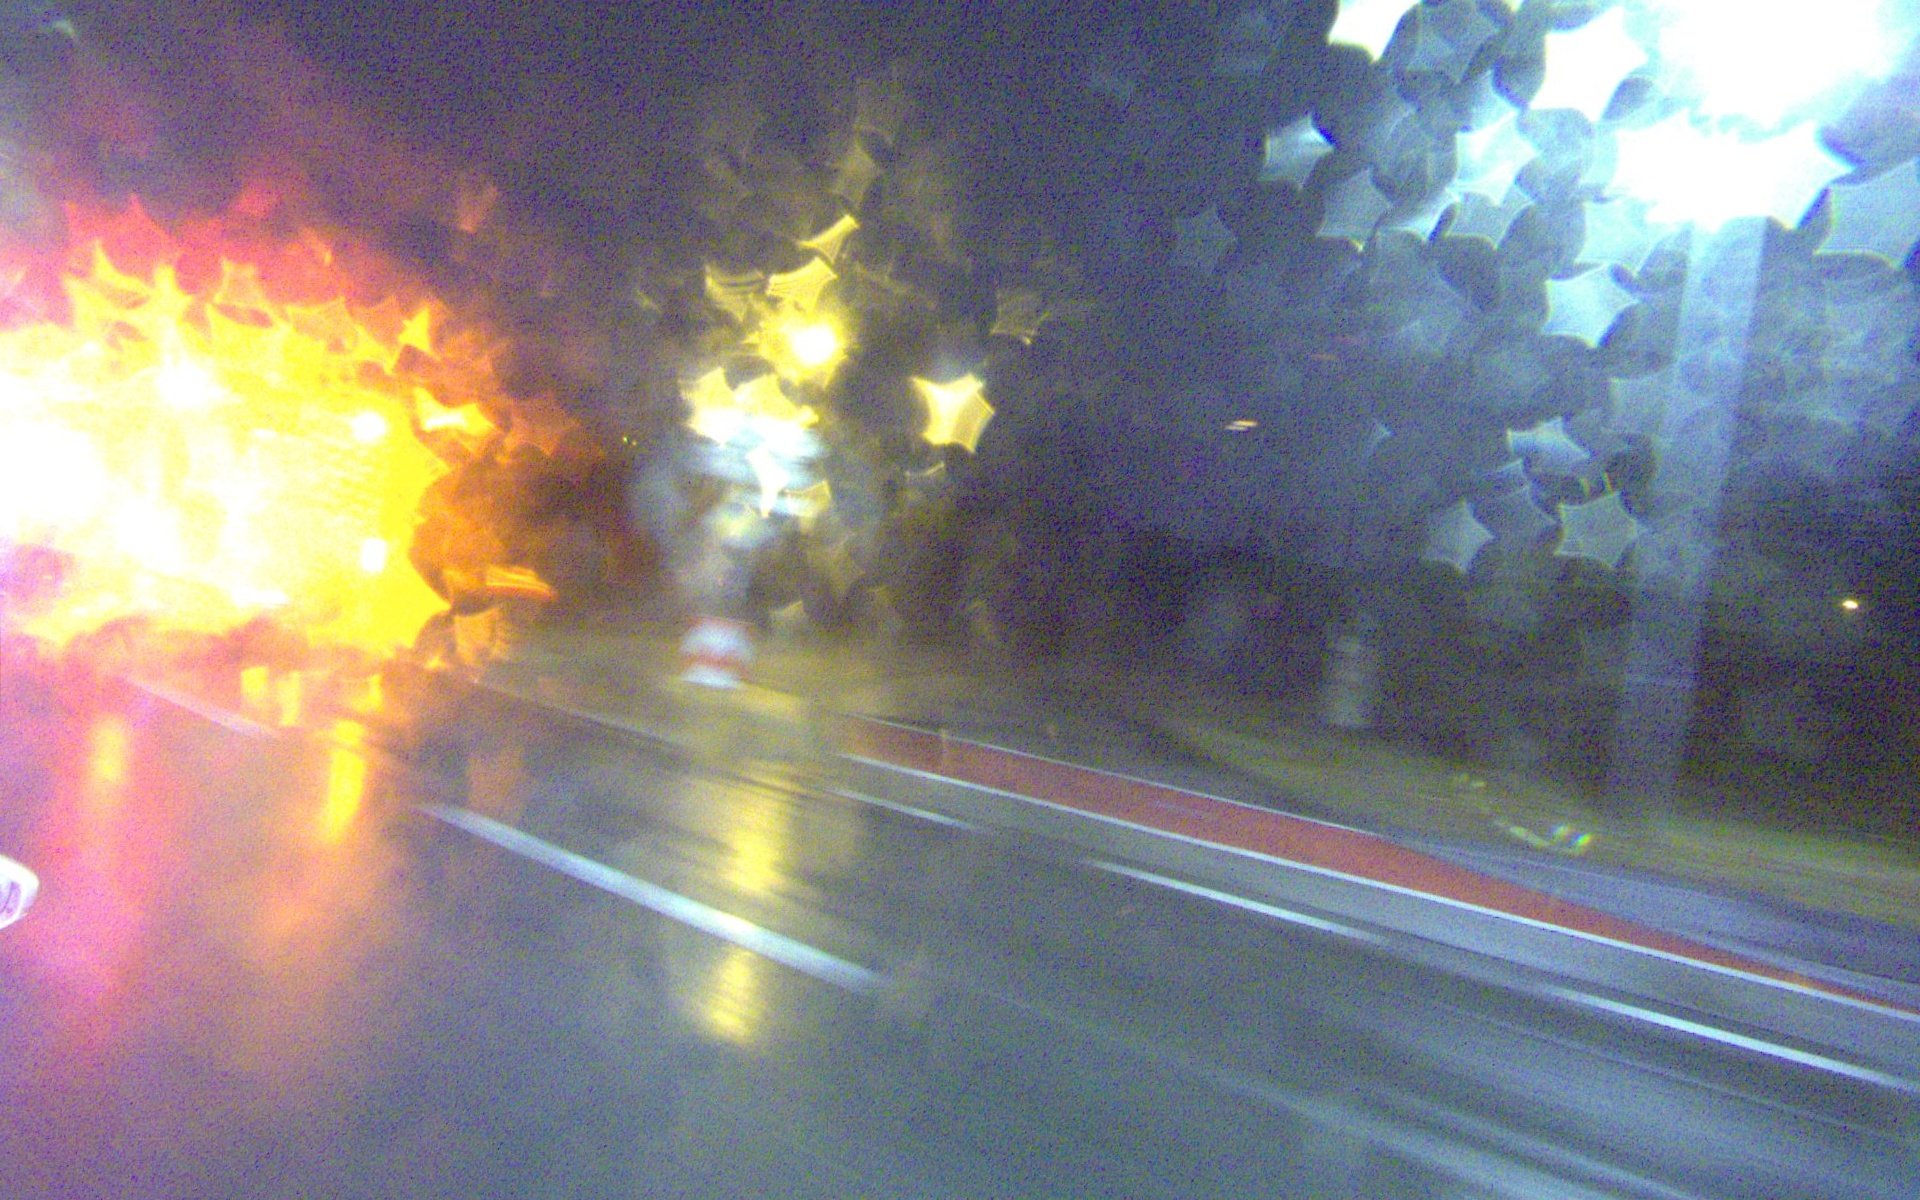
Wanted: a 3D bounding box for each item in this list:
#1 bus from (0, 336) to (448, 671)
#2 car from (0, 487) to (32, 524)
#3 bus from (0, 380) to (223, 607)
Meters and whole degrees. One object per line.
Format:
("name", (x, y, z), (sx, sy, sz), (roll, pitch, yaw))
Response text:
("bus", (-11.098, -1.308, 14.255), (8.915, 3.248, 3.046), (7, -3, 38))
("car", (-48.899, -4.866, 51.068), (1.776, 1.704, 3.966), (8, -1, -32))
("bus", (-17.888, -2.056, 20.051), (8.925, 3.248, 3.042), (6, -3, 42))
